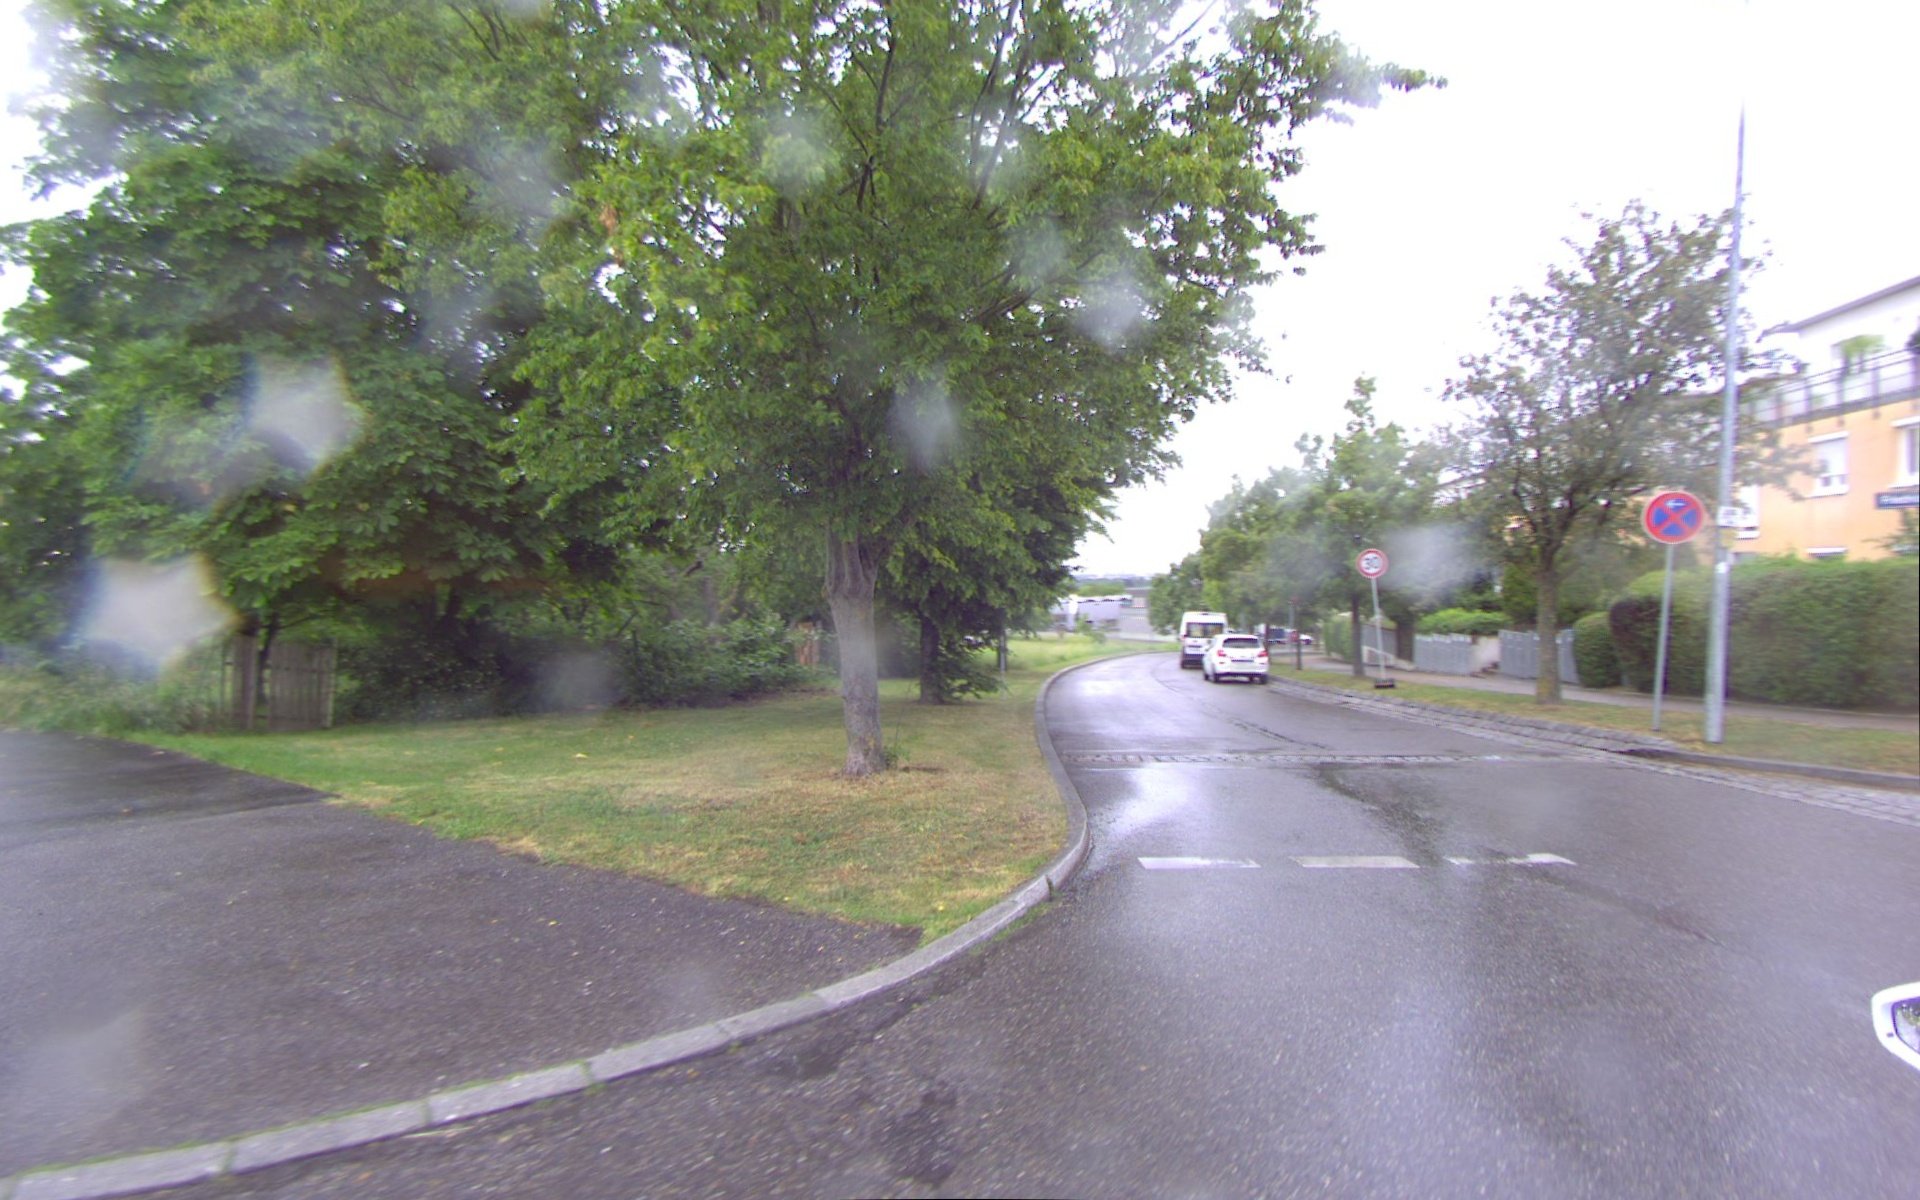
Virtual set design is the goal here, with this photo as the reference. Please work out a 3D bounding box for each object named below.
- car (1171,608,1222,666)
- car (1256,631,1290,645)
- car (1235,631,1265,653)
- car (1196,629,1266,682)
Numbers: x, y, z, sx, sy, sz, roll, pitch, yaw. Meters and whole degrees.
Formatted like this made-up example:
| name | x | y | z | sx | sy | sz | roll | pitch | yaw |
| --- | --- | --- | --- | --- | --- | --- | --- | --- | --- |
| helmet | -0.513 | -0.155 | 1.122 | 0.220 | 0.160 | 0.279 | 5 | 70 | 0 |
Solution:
| name | x | y | z | sx | sy | sz | roll | pitch | yaw |
| --- | --- | --- | --- | --- | --- | --- | --- | --- | --- |
| car | 11.003 | 1.720 | 46.966 | 2.081 | 2.500 | 5.514 | 1 | -2 | 11 |
| car | 37.418 | 4.570 | 120.166 | 3.510 | 1.626 | 1.689 | -2 | -3 | 31 |
| car | 22.898 | 3.290 | 79.173 | 1.660 | 1.573 | 3.693 | 1 | 0 | 26 |
| car | 8.478 | 1.705 | 31.651 | 1.578 | 1.522 | 3.729 | 1 | -2 | 7 |
